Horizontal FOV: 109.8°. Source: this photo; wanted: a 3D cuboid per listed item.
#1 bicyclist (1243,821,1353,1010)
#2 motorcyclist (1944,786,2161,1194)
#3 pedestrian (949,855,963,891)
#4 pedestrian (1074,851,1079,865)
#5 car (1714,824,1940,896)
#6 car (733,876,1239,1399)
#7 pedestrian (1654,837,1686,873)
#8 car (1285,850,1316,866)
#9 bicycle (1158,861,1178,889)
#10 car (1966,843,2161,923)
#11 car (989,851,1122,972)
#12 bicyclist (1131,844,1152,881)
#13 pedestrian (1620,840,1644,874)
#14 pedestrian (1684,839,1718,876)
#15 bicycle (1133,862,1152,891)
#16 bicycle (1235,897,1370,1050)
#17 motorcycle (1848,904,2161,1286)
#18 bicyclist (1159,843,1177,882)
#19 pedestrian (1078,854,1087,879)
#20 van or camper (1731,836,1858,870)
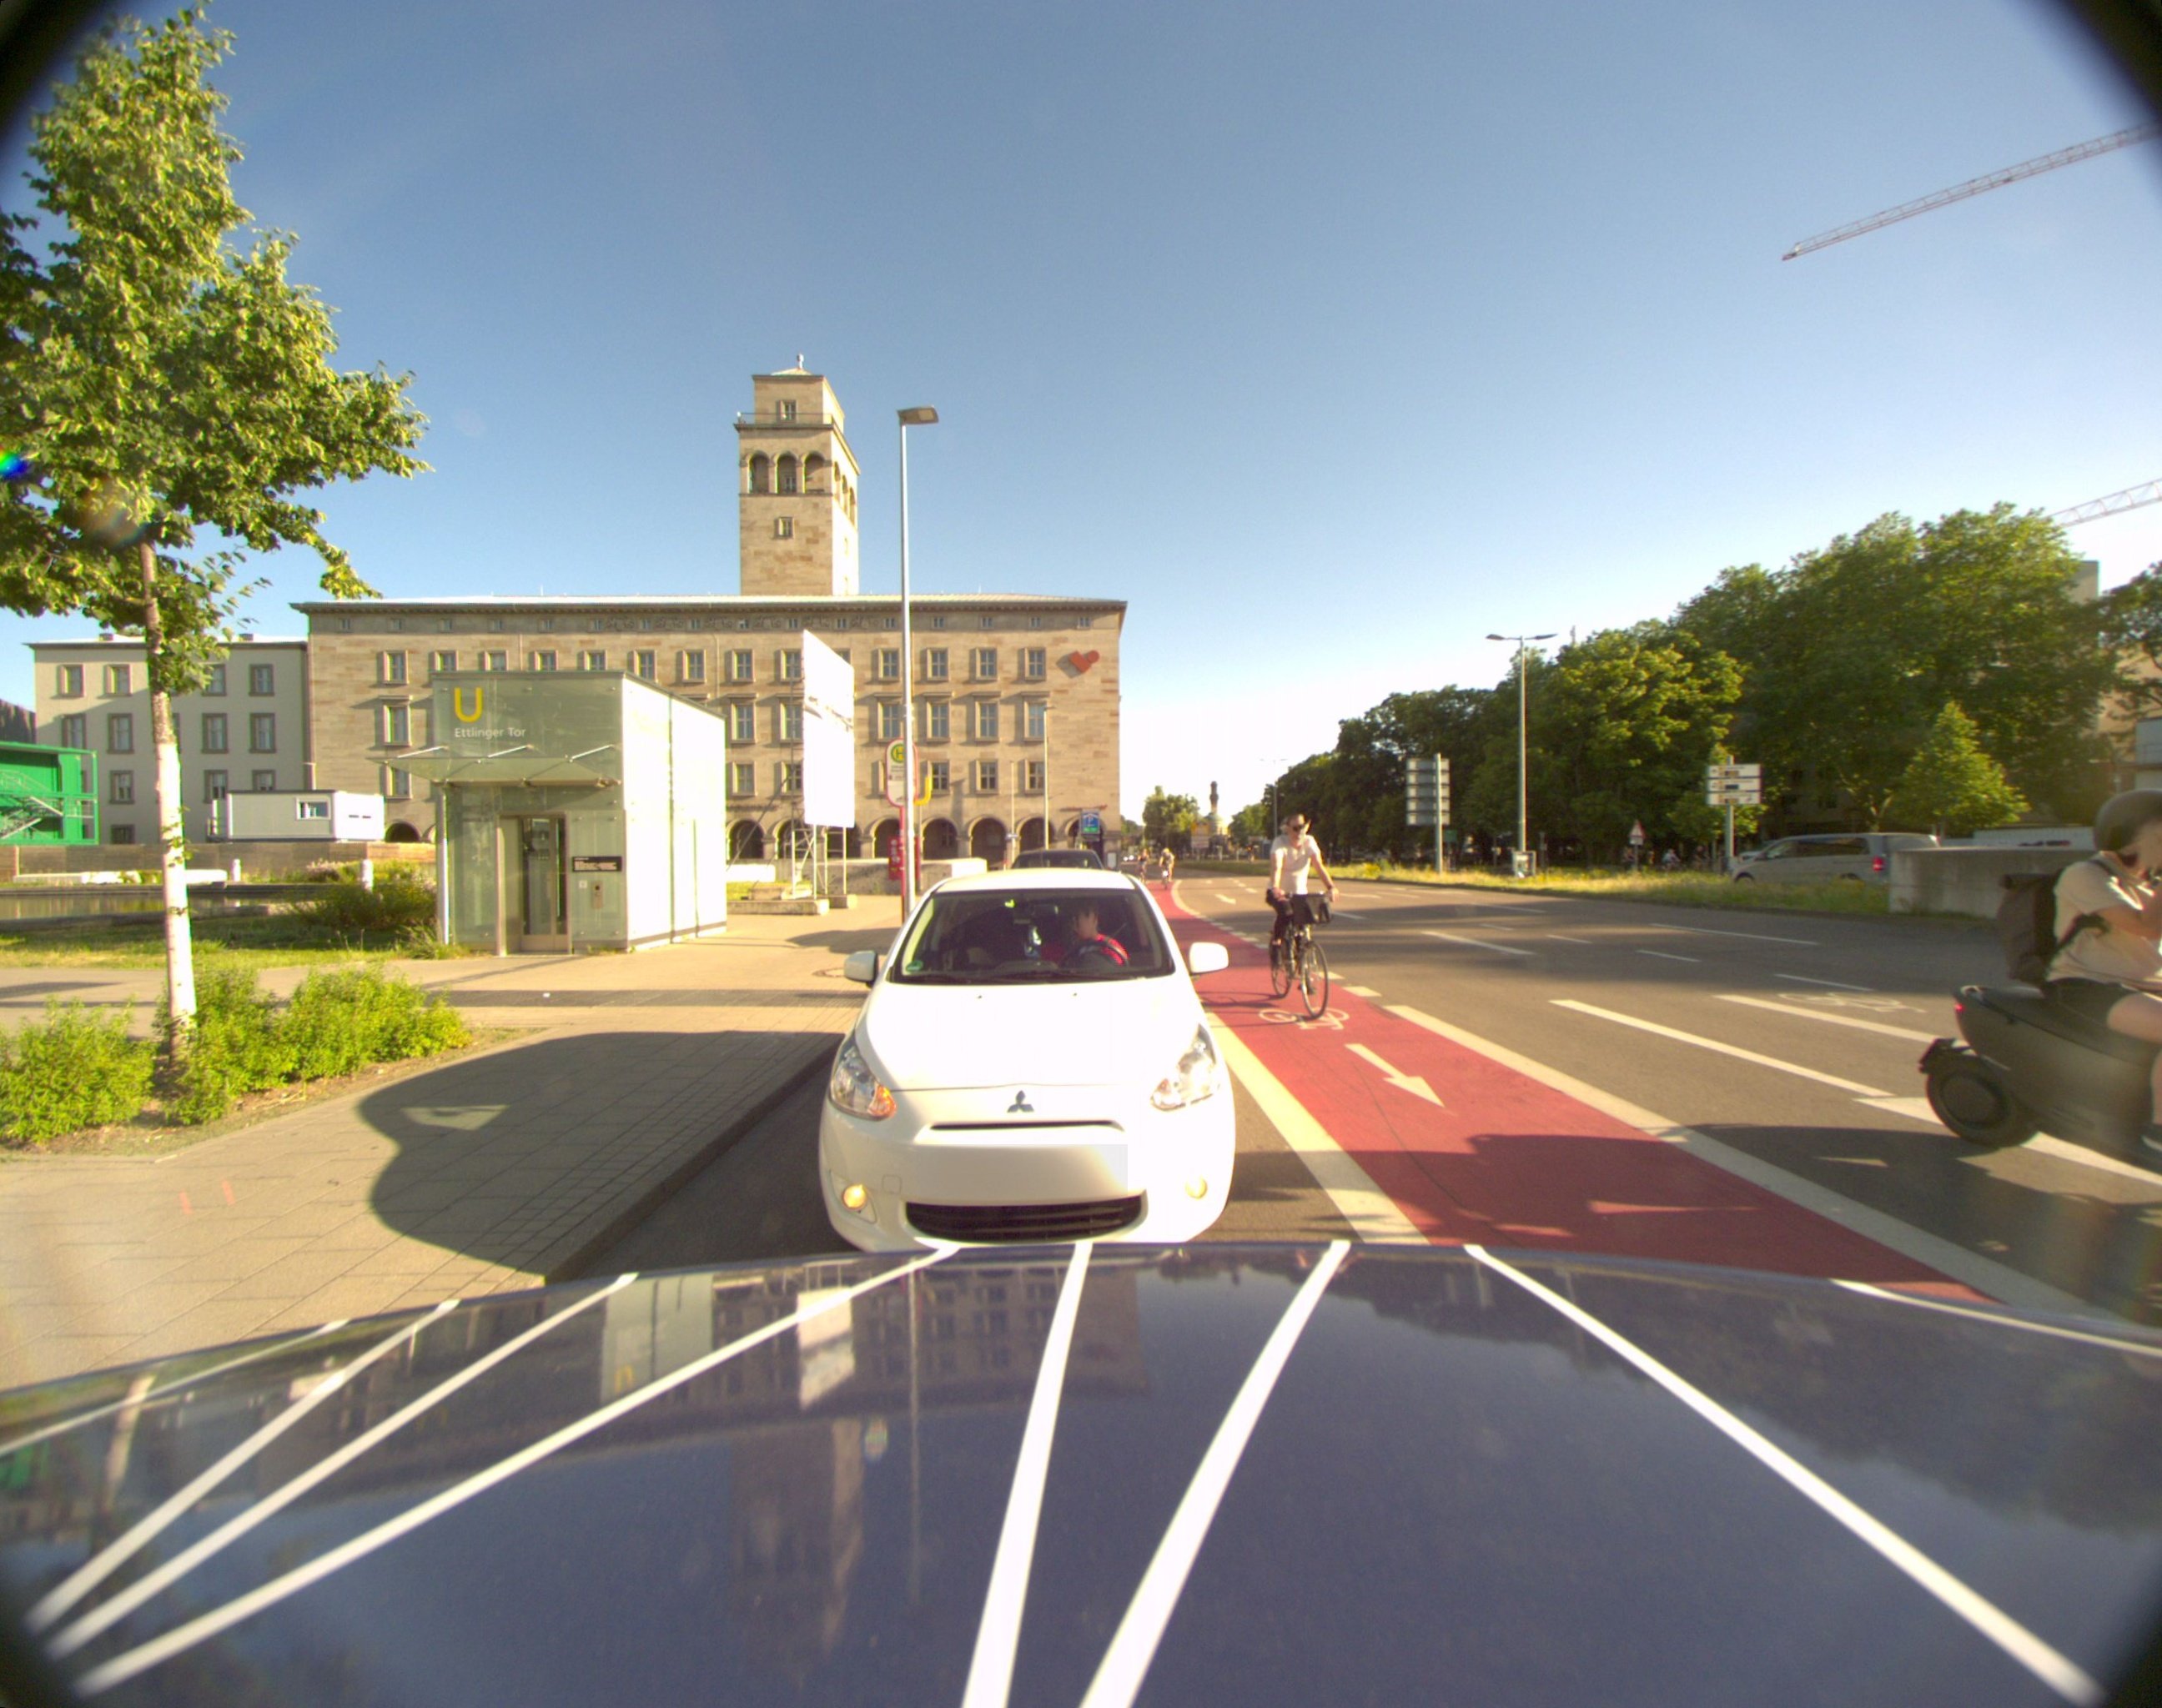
[{"bbox_3d":[2.041,0.551,7.249,0.807,1.690,0.852,-1,1,1],"label":"bicyclist"},{"bbox_3d":[4.263,0.481,2.949,0.824,1.455,0.877,-1,1,1],"label":"motorcyclist"},{"bbox_3d":[-6.075,0.910,36.959,0.595,1.700,0.583,-1,1,1],"label":"pedestrian"},{"bbox_3d":[-0.623,0.594,109.886,0.612,2.002,0.727,-2,1,0],"label":"pedestrian"},{"bbox_3d":[22.144,0.158,22.929,1.887,1.911,4.930,-1,0,-2],"label":"car"},{"bbox_3d":[-0.260,0.927,4.306,1.519,1.447,4.000,-1,0,1],"label":"car"},{"bbox_3d":[33.416,0.065,43.115,0.951,1.952,1.058,-2,1,-14],"label":"pedestrian"},{"bbox_3d":[21.331,0.390,73.921,1.881,1.472,3.980,-1,0,1],"label":"car"},{"bbox_3d":[3.737,0.891,32.723,0.689,1.185,1.506,-1,1,1],"label":"bicycle"},{"bbox_3d":[19.530,0.497,14.074,1.728,1.369,3.943,-1,0,1],"label":"car"},{"bbox_3d":[-0.325,0.796,12.606,1.833,1.660,4.000,-1,0,1],"label":"car"},{"bbox_3d":[2.629,0.367,33.009,0.824,1.568,0.877,-1,1,1],"label":"bicyclist"},{"bbox_3d":[33.283,0.155,45.896,0.958,2.002,0.838,-3,1,-28],"label":"pedestrian"},{"bbox_3d":[33.270,0.183,40.796,1.126,1.952,0.815,-2,1,1],"label":"pedestrian"},{"bbox_3d":[2.657,0.947,32.869,0.689,1.185,1.506,-1,1,1],"label":"bicycle"},{"bbox_3d":[2.026,1.044,7.236,0.741,1.140,1.890,-1,0,1],"label":"bicycle"},{"bbox_3d":[4.267,0.899,2.850,0.828,1.273,1.944,-1,0,1],"label":"motorcycle"},{"bbox_3d":[3.744,0.344,32.659,0.674,1.649,0.877,-1,1,1],"label":"bicyclist"},{"bbox_3d":[0.109,0.841,51.269,0.552,1.692,0.553,-1,1,-1],"label":"pedestrian"},{"bbox_3d":[42.230,-0.048,45.062,5.499,1.934,1.951,-1,0,4],"label":"van or camper"}]
